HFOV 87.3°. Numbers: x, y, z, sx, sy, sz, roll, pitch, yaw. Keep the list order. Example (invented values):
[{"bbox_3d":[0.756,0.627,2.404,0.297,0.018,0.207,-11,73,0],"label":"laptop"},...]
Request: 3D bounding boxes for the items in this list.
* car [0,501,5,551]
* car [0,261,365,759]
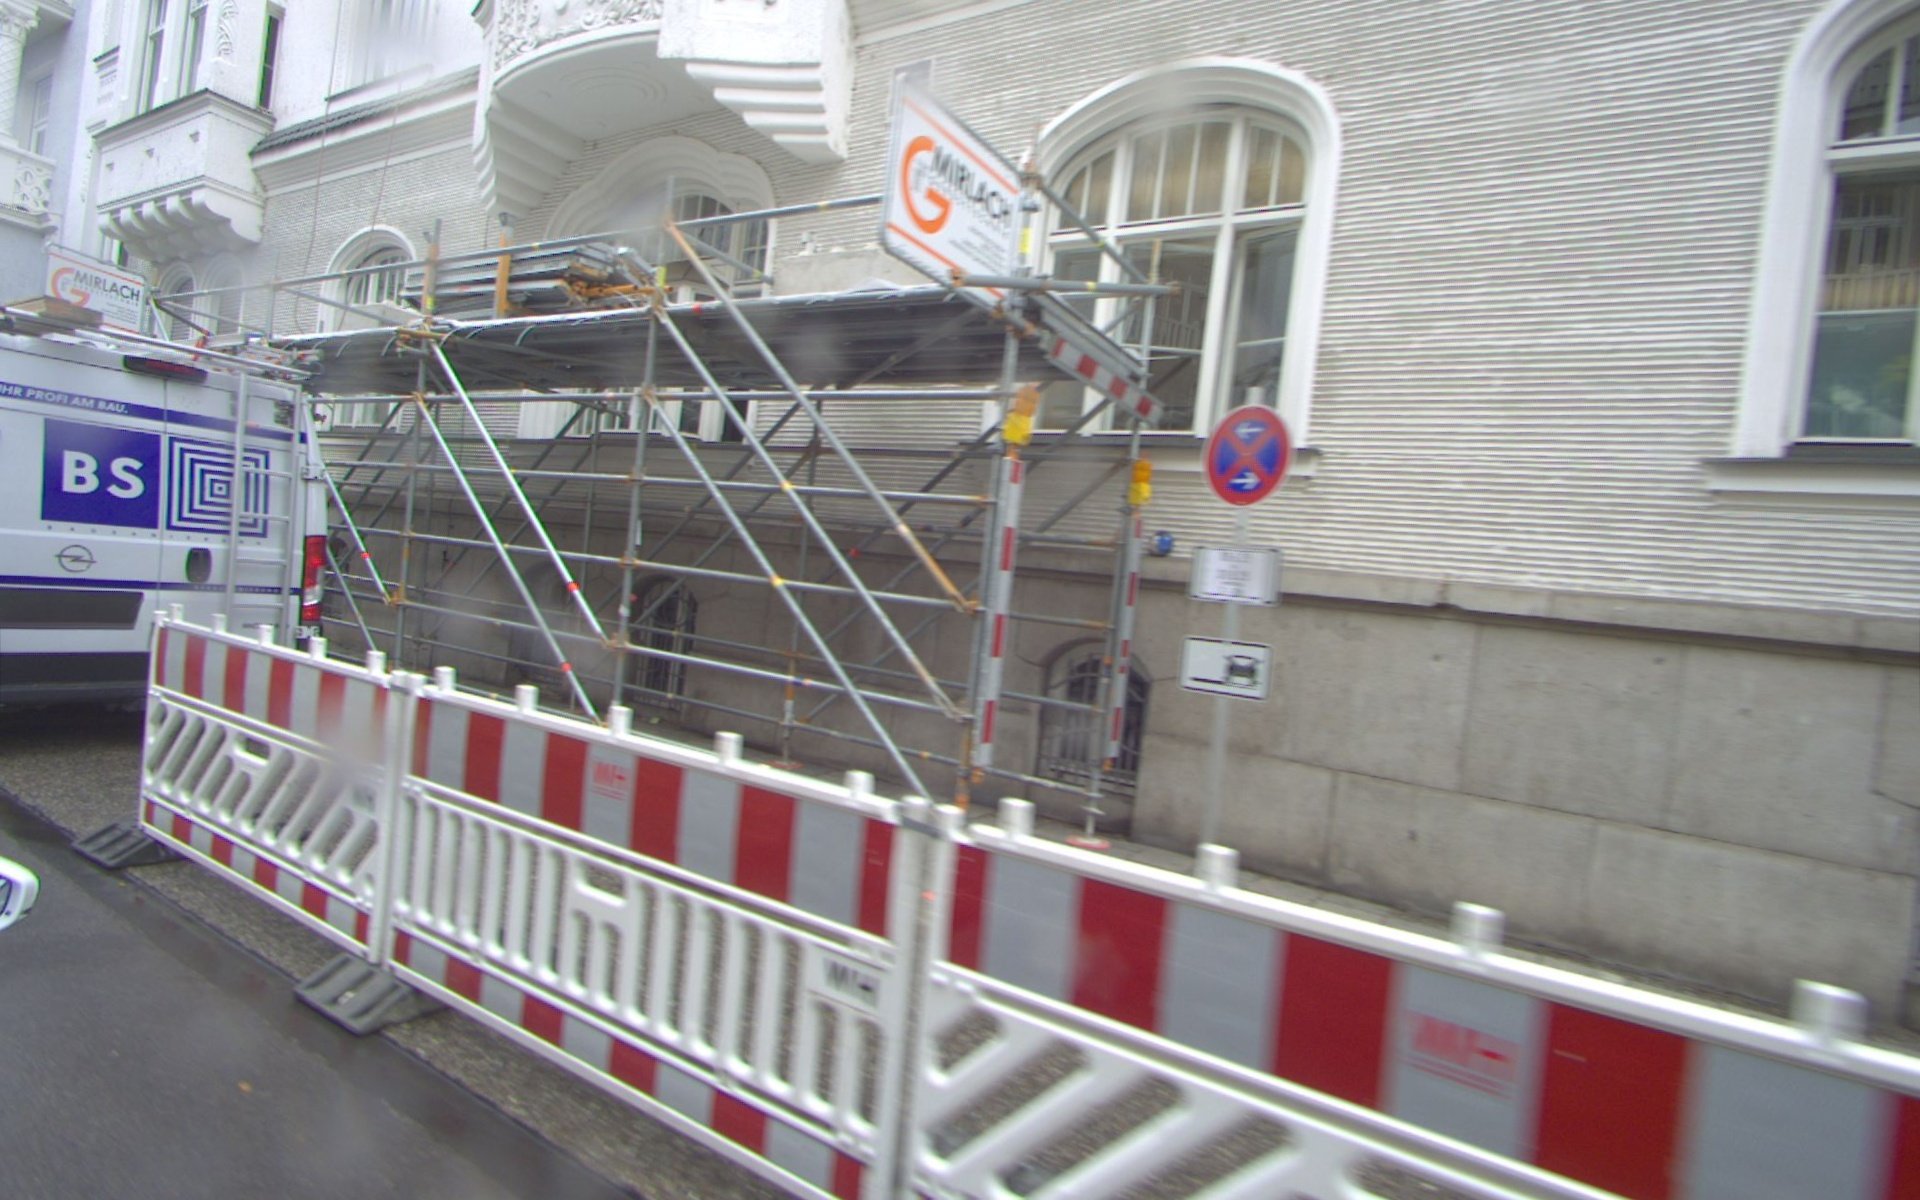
[{"bbox_3d":[-12.019,-0.558,10.563,4.173,1.425,1.790,7,0,31],"label":"car"},{"bbox_3d":[-7.092,-0.679,7.642,5.356,2.723,2.078,7,1,32],"label":"car"}]
